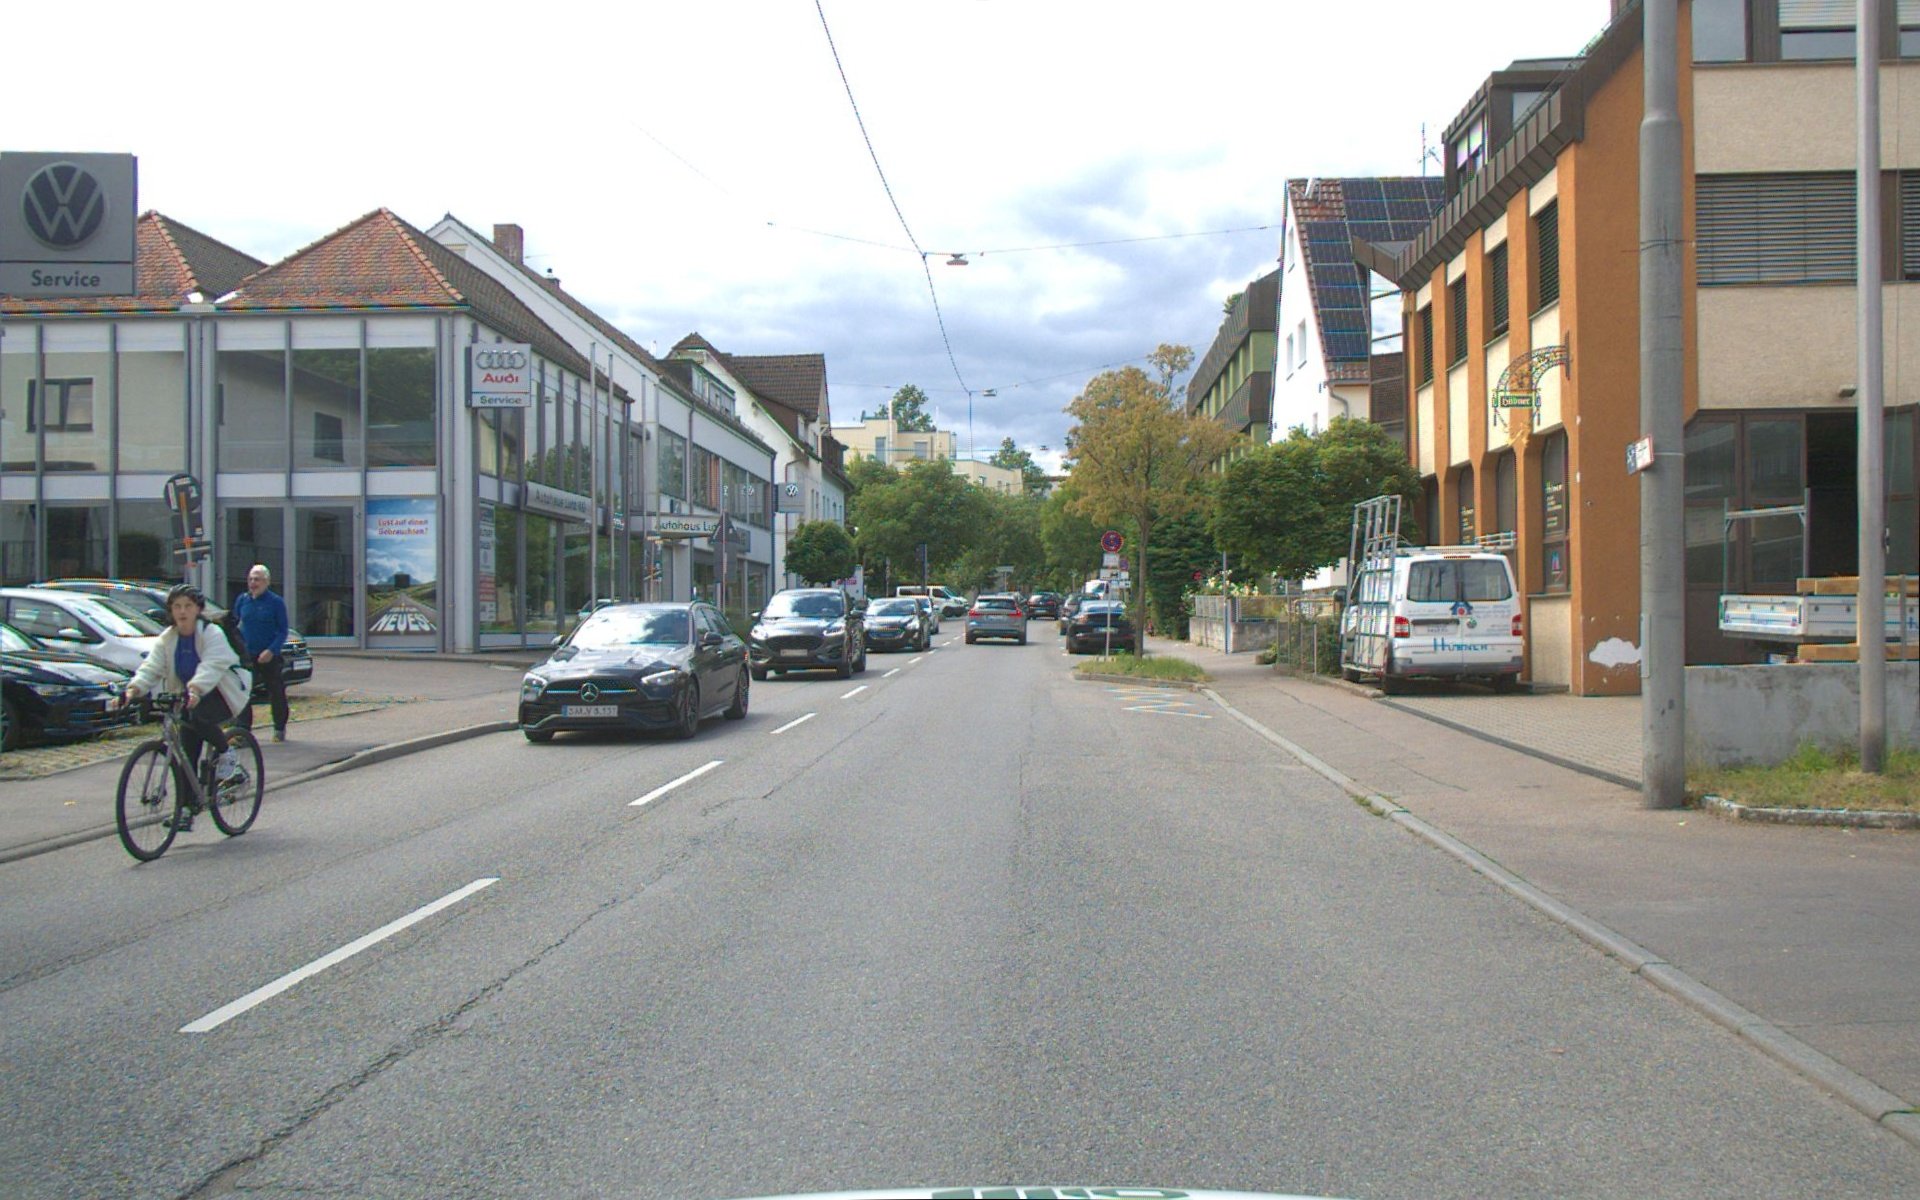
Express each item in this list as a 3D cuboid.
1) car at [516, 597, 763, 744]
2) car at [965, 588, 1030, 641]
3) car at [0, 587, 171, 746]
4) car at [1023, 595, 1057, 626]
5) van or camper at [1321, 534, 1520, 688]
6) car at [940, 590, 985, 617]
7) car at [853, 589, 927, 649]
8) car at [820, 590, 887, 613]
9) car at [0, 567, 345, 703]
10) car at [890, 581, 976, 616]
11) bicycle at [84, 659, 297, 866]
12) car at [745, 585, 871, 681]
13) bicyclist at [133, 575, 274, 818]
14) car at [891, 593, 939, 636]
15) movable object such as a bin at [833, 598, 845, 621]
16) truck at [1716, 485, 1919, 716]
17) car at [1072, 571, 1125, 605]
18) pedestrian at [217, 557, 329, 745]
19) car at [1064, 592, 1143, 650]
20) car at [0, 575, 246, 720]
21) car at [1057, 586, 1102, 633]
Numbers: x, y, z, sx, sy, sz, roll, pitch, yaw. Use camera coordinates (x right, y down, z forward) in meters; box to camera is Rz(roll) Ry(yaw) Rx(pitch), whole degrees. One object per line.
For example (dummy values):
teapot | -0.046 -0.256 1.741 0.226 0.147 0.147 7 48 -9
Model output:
car | -3.542 0.717 19.107 1.704 1.454 4.526 -2 0 3
car | 1.175 0.479 51.127 1.915 1.550 4.329 0 -1 2
car | -10.362 0.661 16.979 3.662 1.545 1.729 -1 0 1
car | 4.209 0.551 87.332 1.581 1.550 3.569 -1 -1 0
van or camper | 6.741 0.176 24.696 1.828 2.067 4.548 1 -1 2
car | 0.180 0.181 98.375 1.738 1.550 4.466 0 1 13
car | -1.869 0.524 45.251 1.793 1.550 4.170 -1 -1 0
car | -6.808 0.117 105.956 3.931 1.438 1.817 0 -1 15
car | -10.714 0.453 22.622 3.930 1.659 1.654 2 0 1
car | -1.762 -0.077 107.743 5.103 2.028 2.109 -3 0 19
bicycle | -4.794 0.965 10.431 0.445 1.106 1.870 -2 0 0
car | -2.793 0.556 31.228 1.793 1.658 4.322 -1 0 2
bicyclist | -4.814 0.591 10.563 0.459 1.474 0.864 -2 0 0
car | -1.741 0.567 65.109 1.655 1.607 3.800 -1 -1 2
movable object such as a bin | -6.049 0.473 82.466 0.553 1.120 0.563 2 -1 -2
truck | 11.714 -0.024 19.012 4.981 2.500 2.358 0 1 3
car | 10.457 -0.925 124.808 2.023 2.394 5.177 -3 0 27
pedestrian | -6.674 0.487 16.106 0.668 1.767 0.868 1 -1 2
car | 3.840 0.565 44.964 1.943 1.473 4.753 -1 -1 3
car | -10.759 0.529 19.852 3.662 1.587 1.535 2 0 1
car | 4.660 0.322 64.230 1.654 1.695 4.465 -1 1 5
